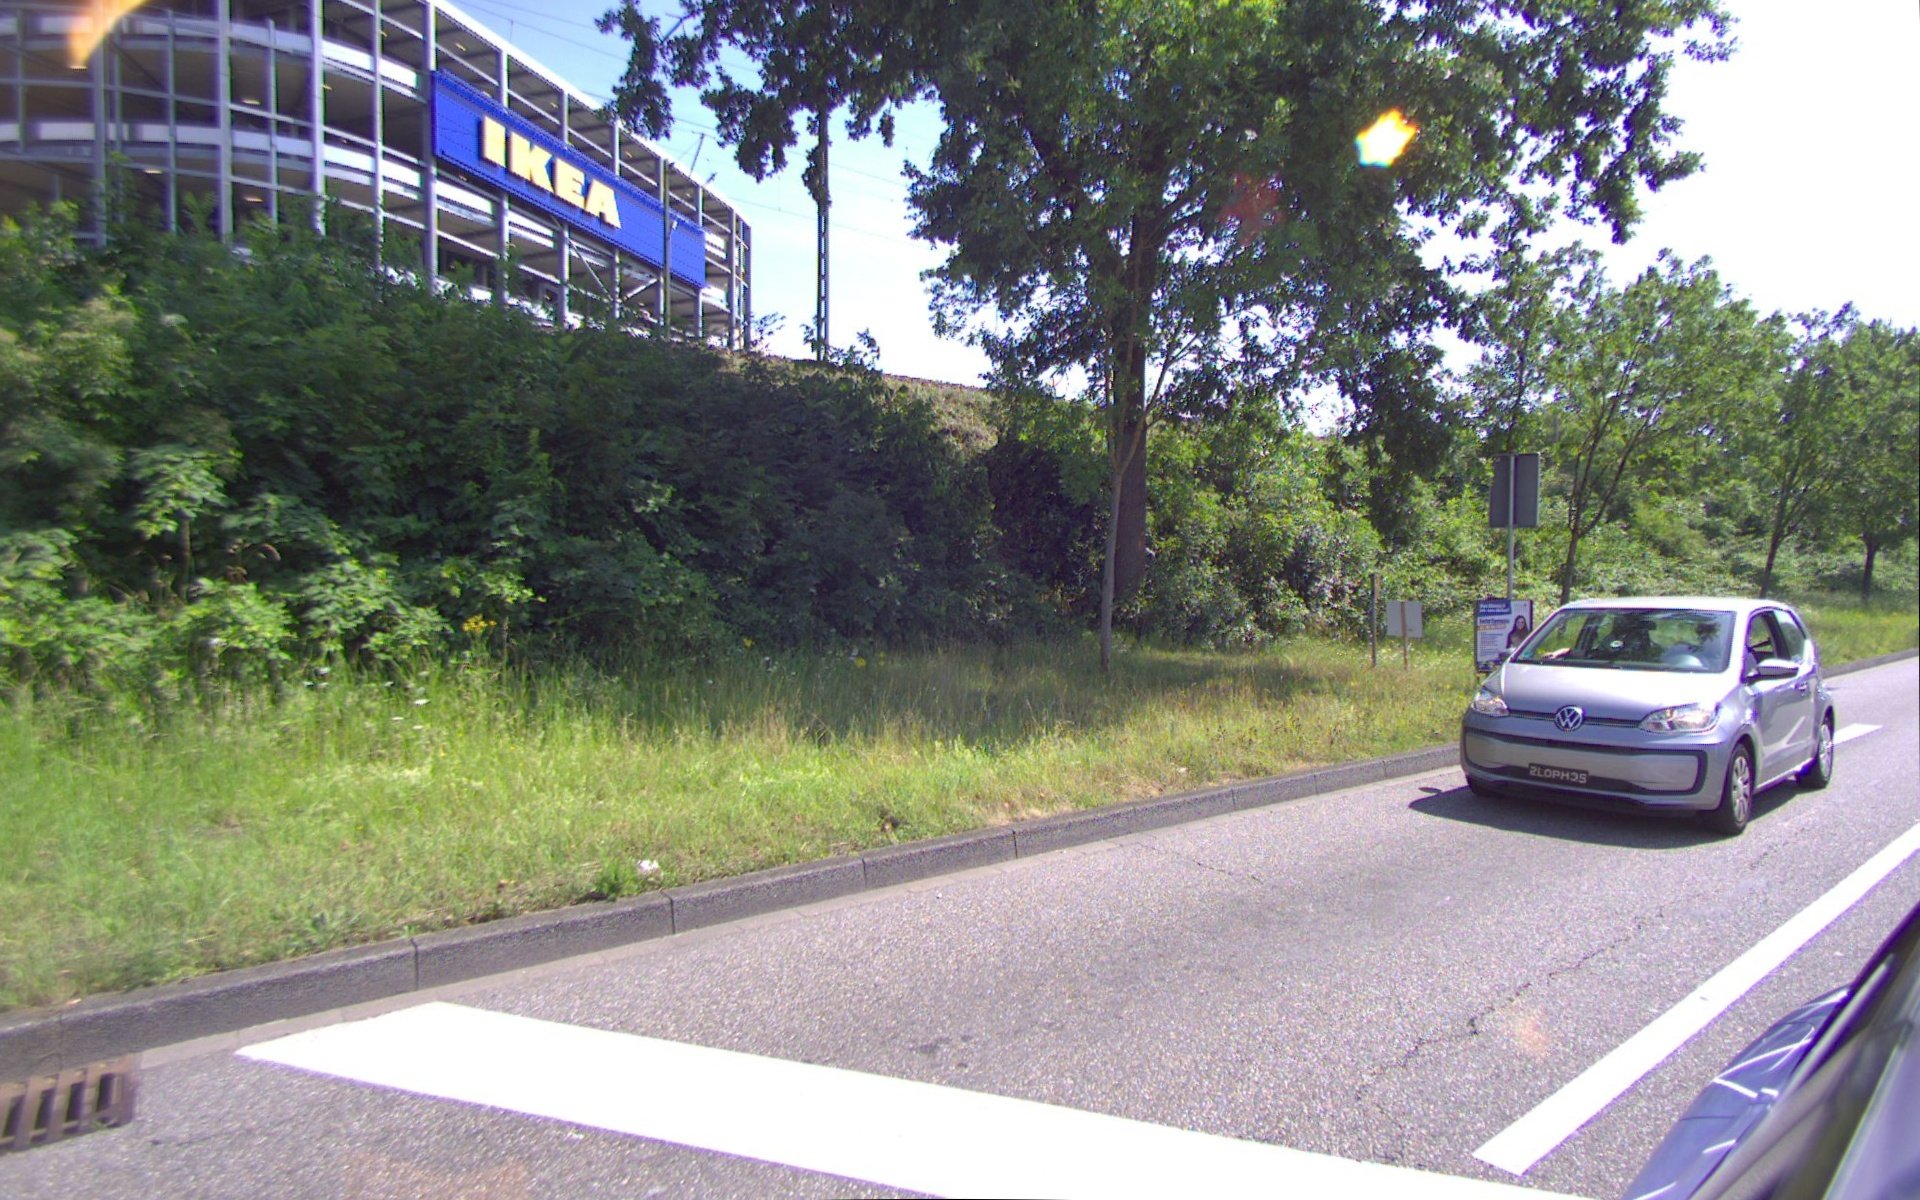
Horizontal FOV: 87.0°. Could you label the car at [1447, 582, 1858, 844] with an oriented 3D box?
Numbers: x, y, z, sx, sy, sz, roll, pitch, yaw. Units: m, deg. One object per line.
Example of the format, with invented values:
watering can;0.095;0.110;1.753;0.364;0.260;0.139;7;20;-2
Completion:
car;5.268;0.631;7.527;3.616;1.455;1.702;-1;-1;-42
